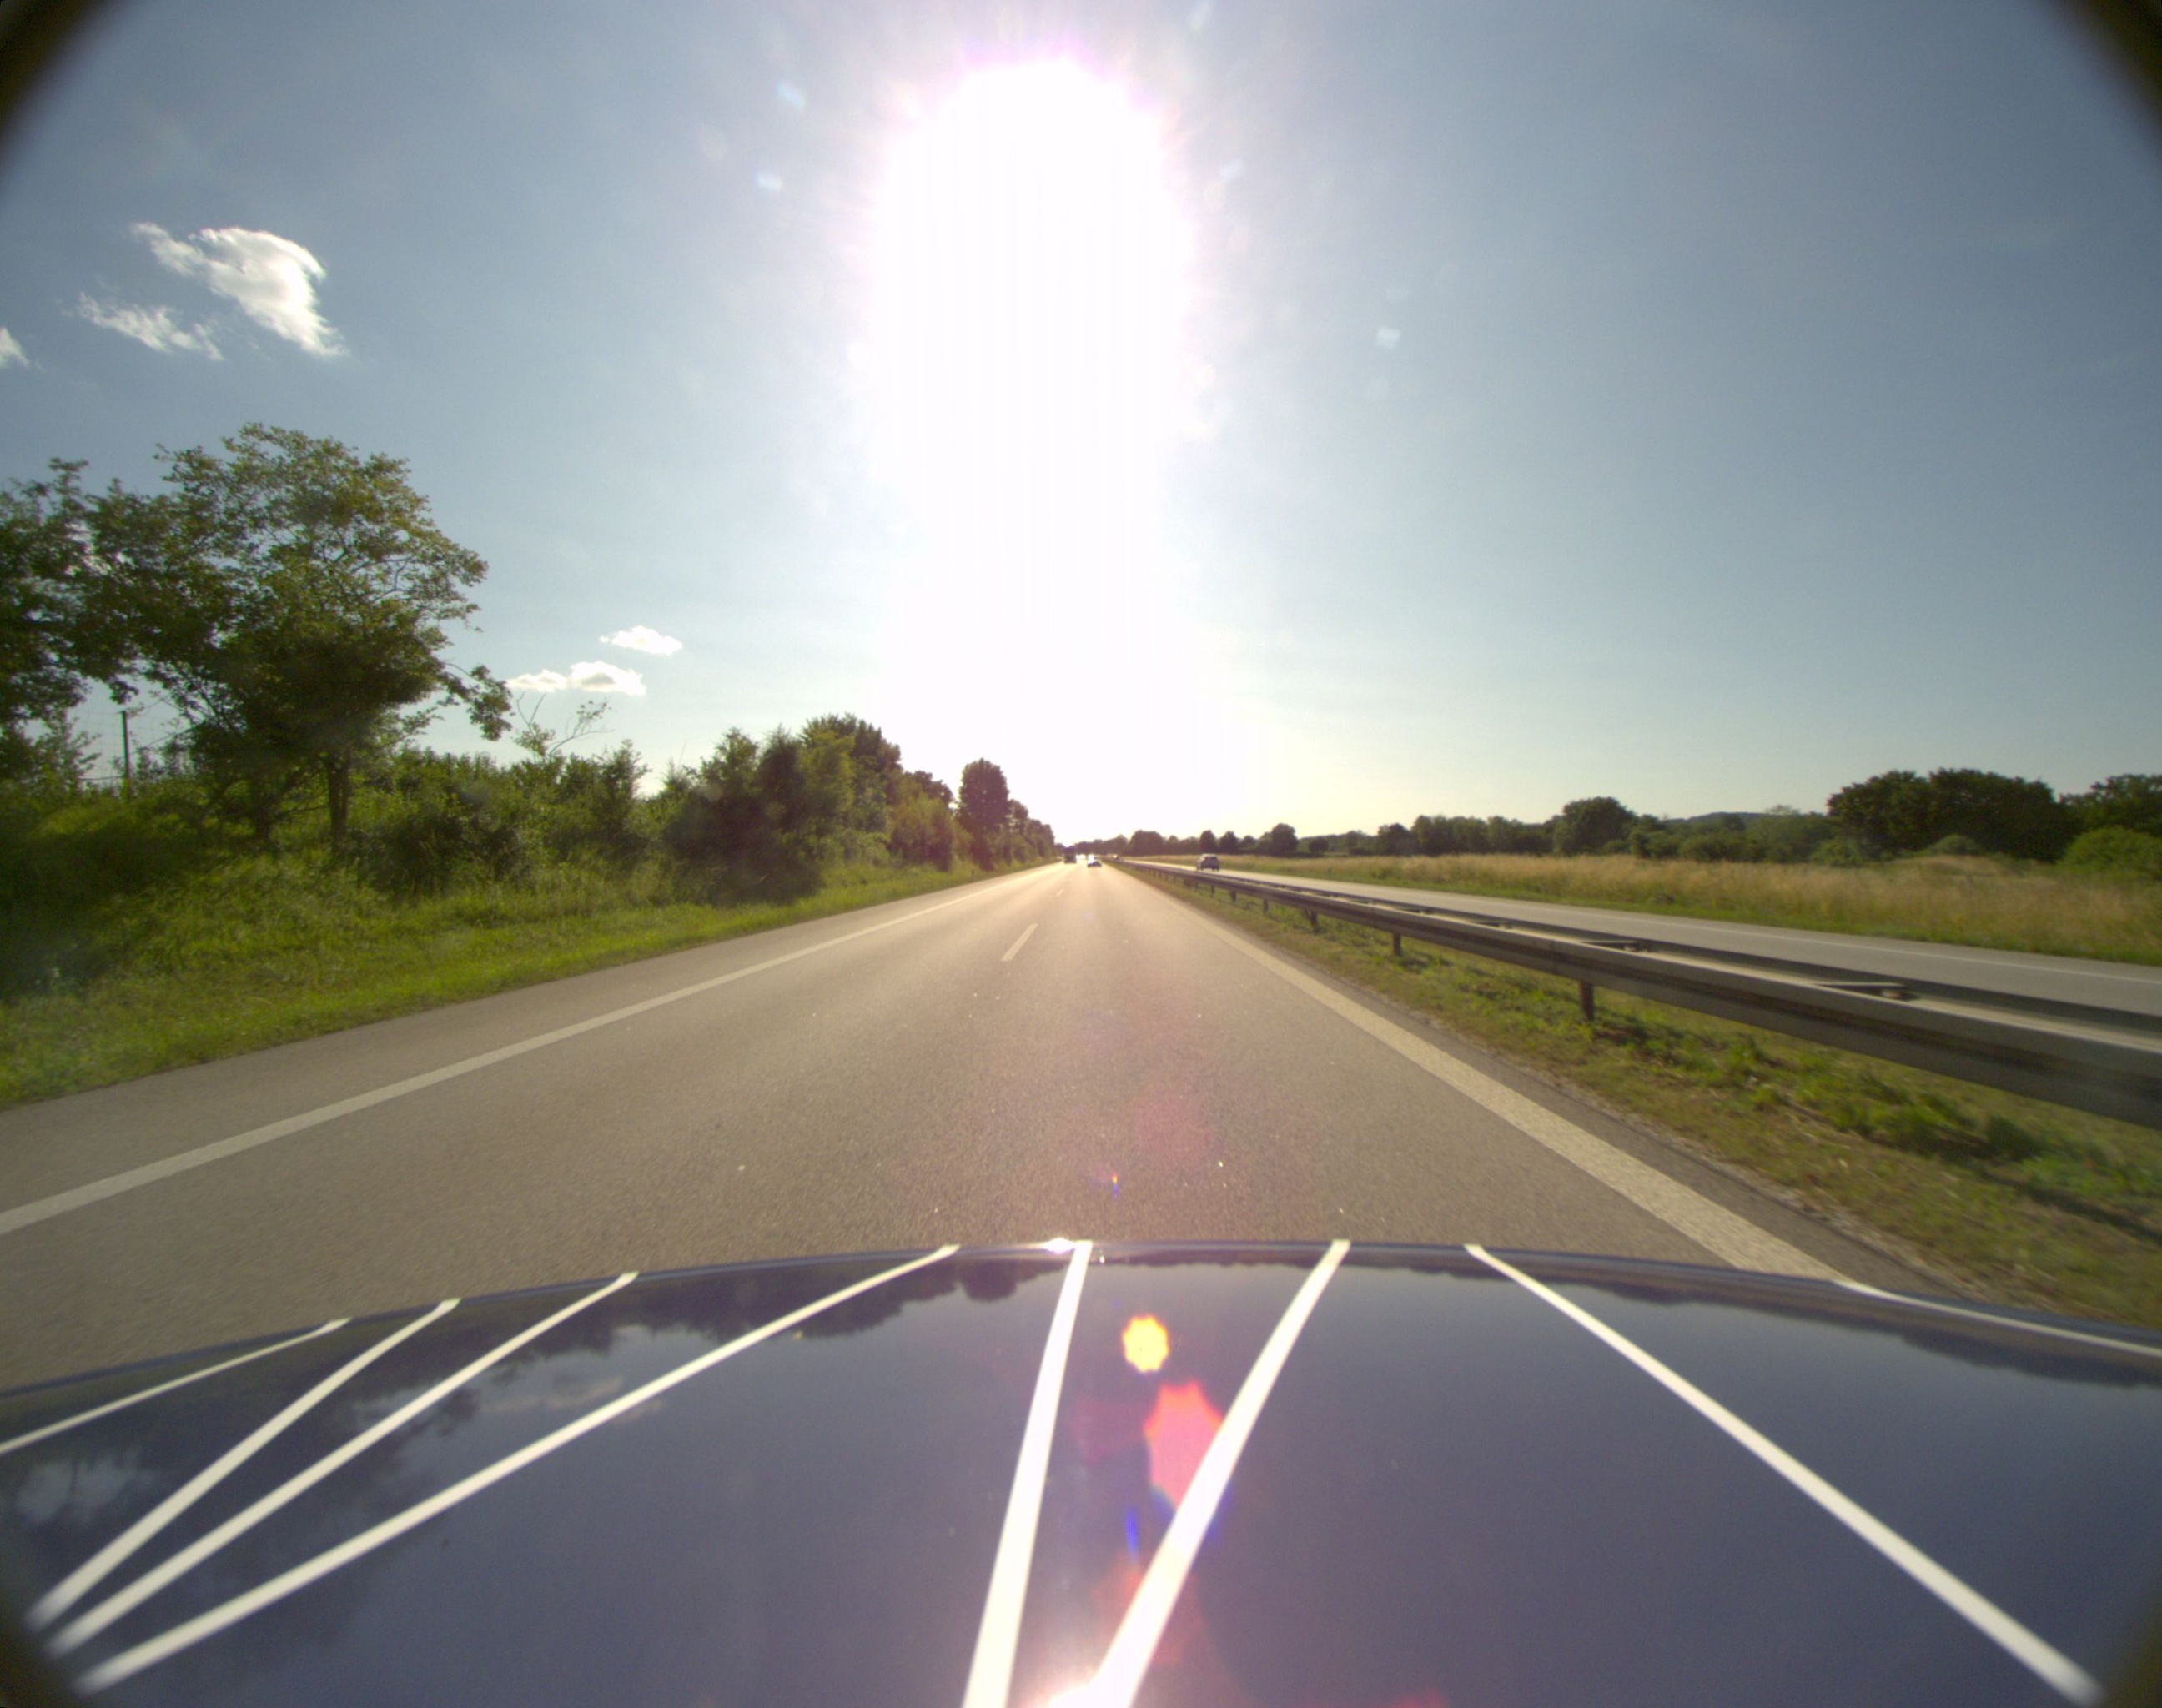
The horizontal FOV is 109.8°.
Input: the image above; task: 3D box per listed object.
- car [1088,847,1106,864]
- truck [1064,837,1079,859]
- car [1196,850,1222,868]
[{"bbox_3d":[1.923,0.151,92.642,1.998,2.002,4.358,-2,1,1],"label":"car"},{"bbox_3d":[-1.901,-1.209,152.718,2.759,4.242,8.492,-2,1,1],"label":"truck"},{"bbox_3d":[13.108,0.493,77.953,1.907,1.673,4.731,0,1,1],"label":"car"}]
